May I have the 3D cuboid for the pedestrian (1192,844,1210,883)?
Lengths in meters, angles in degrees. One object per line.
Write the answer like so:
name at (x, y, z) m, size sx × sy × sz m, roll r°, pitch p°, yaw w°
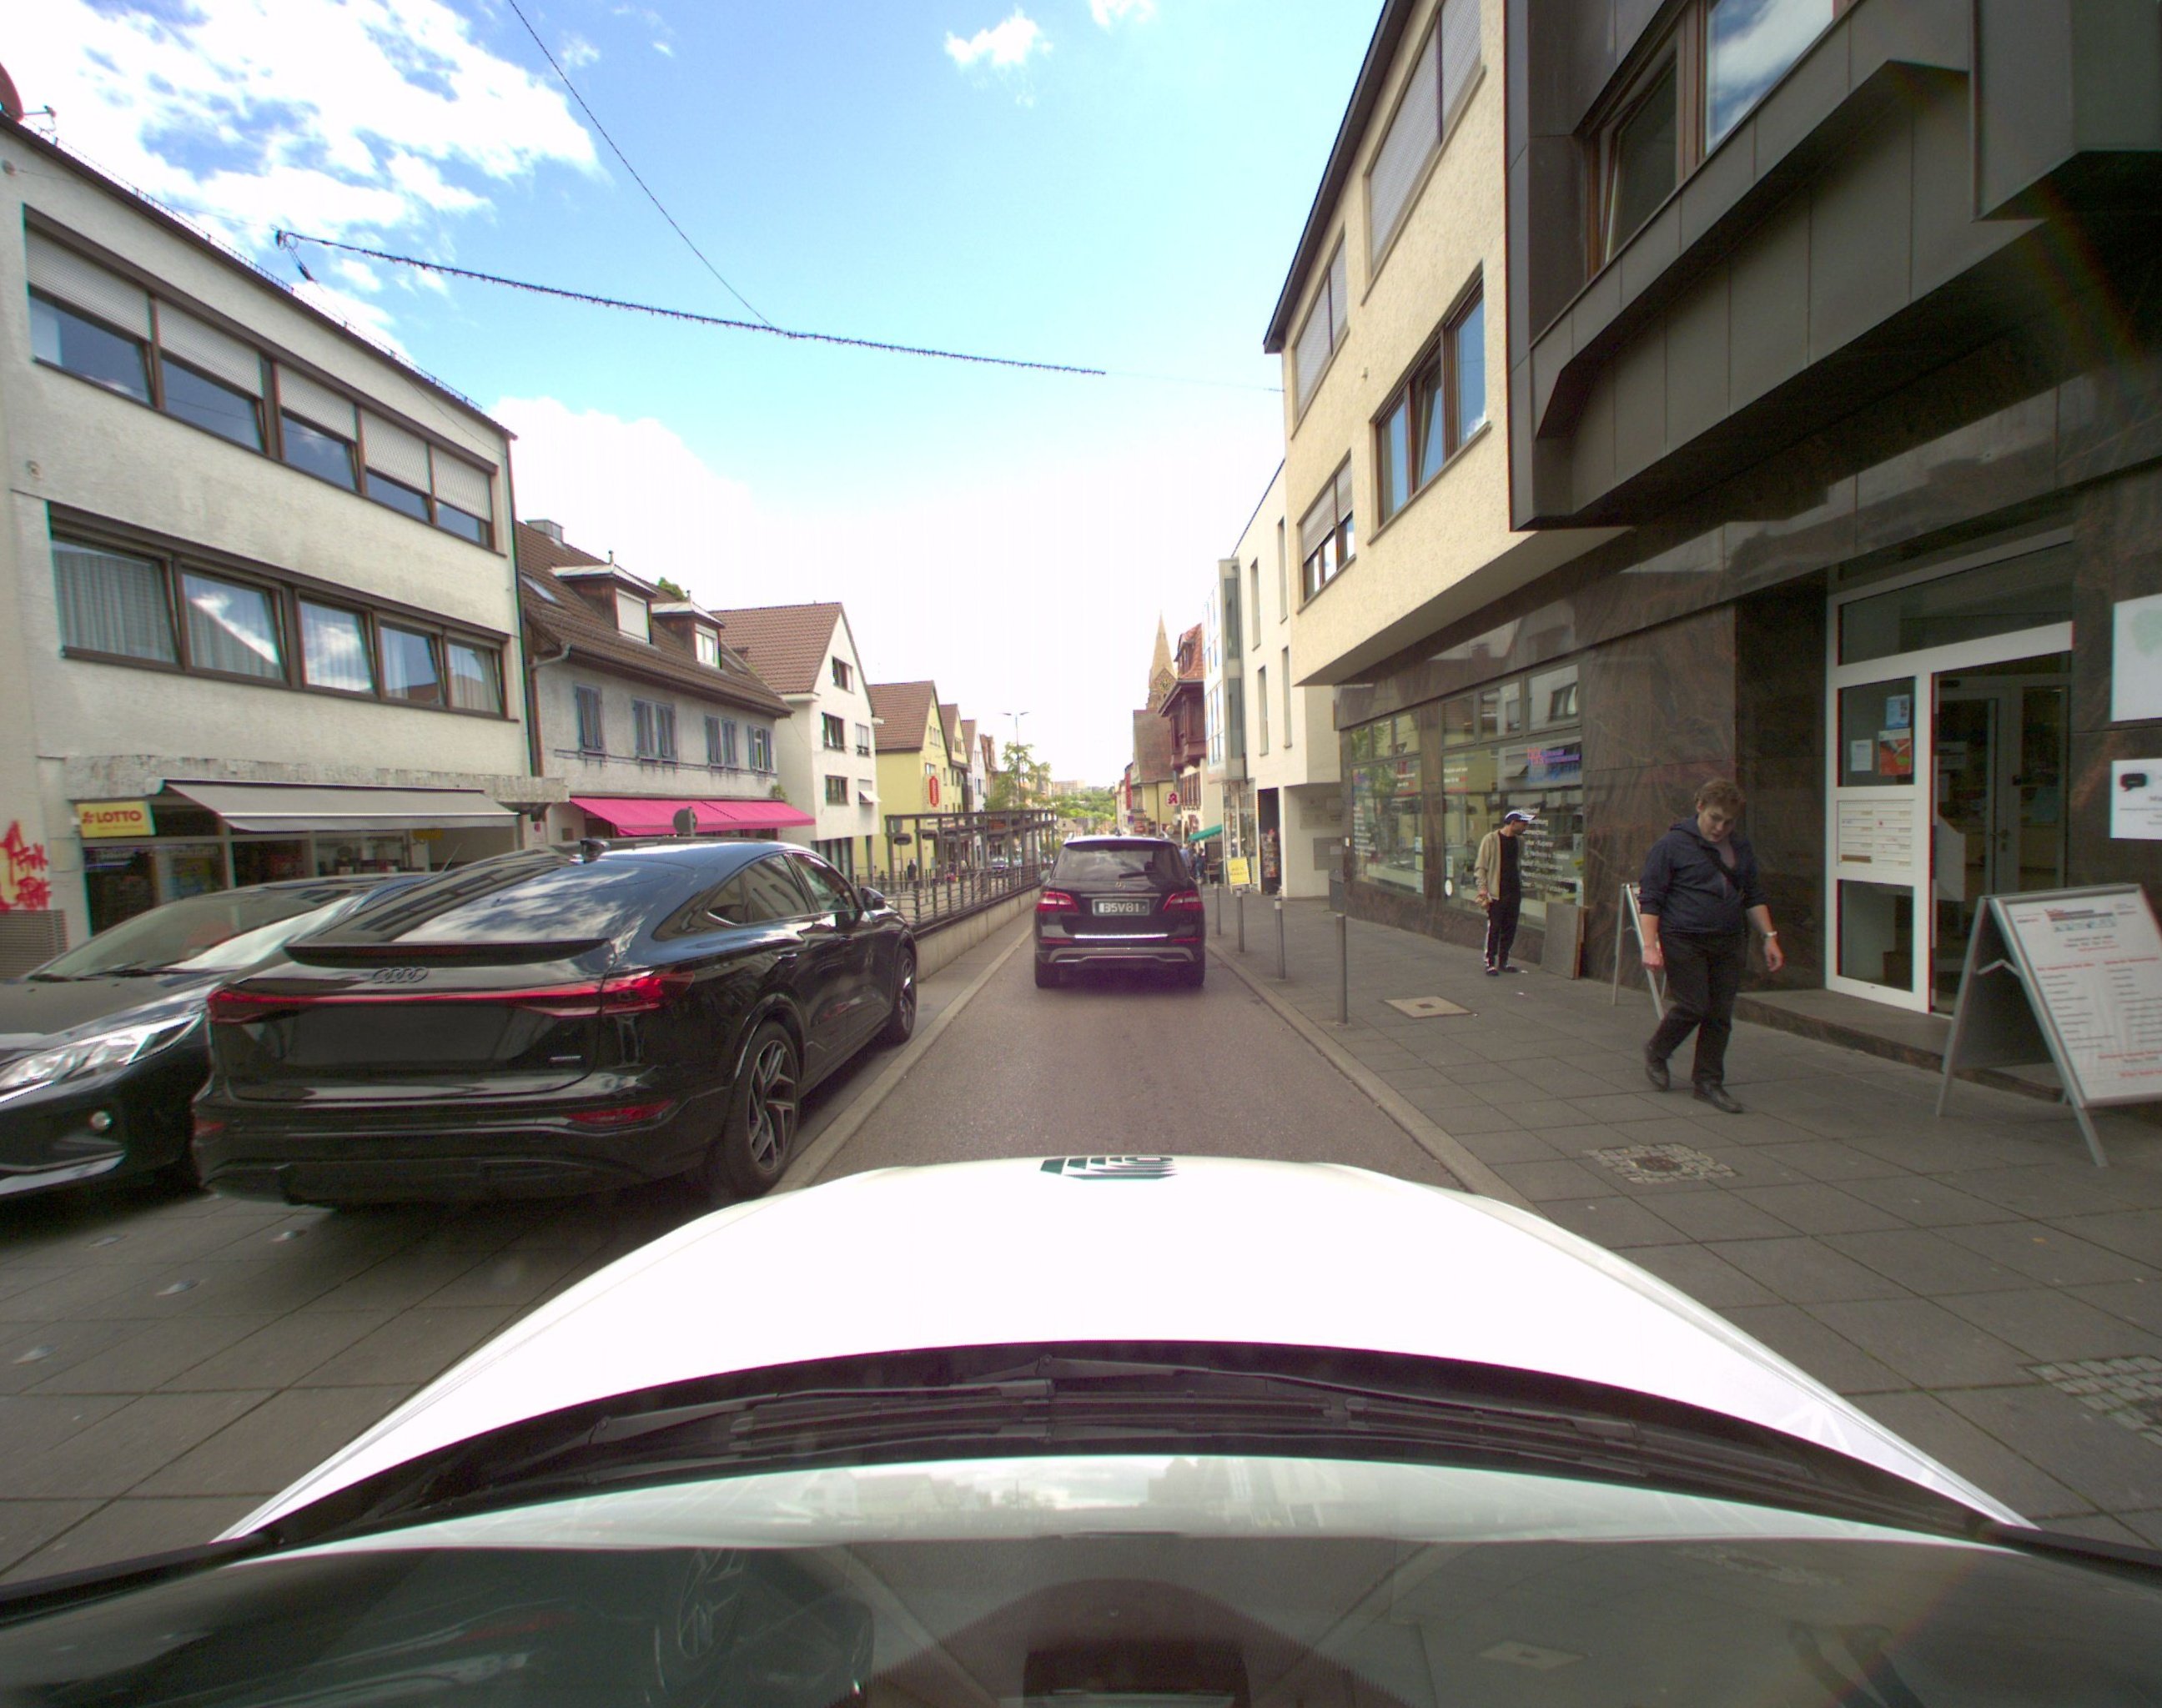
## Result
pedestrian at (5.227, 0.404, 35.458) m, size 0.572 × 1.689 × 0.565 m, roll -2°, pitch 0°, yaw -5°

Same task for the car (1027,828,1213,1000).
car at (0.388, 0.613, 10.348) m, size 1.895 × 1.747 × 3.999 m, roll 0°, pitch 0°, yaw 0°

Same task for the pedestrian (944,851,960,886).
pedestrian at (-6.173, 0.682, 39.060) m, size 0.623 × 1.689 × 0.679 m, roll 0°, pitch 0°, yaw 1°

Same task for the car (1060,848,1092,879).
car at (-0.257, 0.545, 48.341) m, size 1.764 × 1.713 × 4.001 m, roll 0°, pitch 0°, yaw 1°

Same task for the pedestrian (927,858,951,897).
pedestrian at (-6.386, 1.045, 36.625) m, size 0.718 × 1.689 × 0.773 m, roll -1°, pitch 0°, yaw 41°

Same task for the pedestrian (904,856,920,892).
pedestrian at (-8.025, 0.920, 38.692) m, size 0.614 × 1.689 × 0.558 m, roll 0°, pitch 0°, yaw -25°

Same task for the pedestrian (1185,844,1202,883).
pedestrian at (5.038, 0.412, 36.473) m, size 0.572 × 1.689 × 0.565 m, roll -2°, pitch 0°, yaw -5°

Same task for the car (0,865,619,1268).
car at (-4.884, 0.878, 5.065) m, size 1.733 × 1.475 × 3.883 m, roll -3°, pitch 0°, yaw 0°

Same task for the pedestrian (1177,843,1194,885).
pedestrian at (4.376, 0.403, 34.241) m, size 0.541 × 1.726 × 0.527 m, roll -2°, pitch 0°, yaw -5°

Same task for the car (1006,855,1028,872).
car at (-6.115, 0.896, 78.088) m, size 1.654 × 1.490 × 3.749 m, roll 0°, pitch 0°, yaw 2°

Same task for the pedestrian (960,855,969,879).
pedestrian at (-8.119, 0.917, 56.770) m, size 0.511 × 1.689 × 0.541 m, roll 0°, pitch 0°, yaw 0°

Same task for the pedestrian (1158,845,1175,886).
pedestrian at (3.615, 0.481, 34.492) m, size 0.620 × 1.689 × 0.565 m, roll 0°, pitch 0°, yaw -5°

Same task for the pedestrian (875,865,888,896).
pedestrian at (-9.200, 1.214, 37.603) m, size 0.454 × 1.421 × 0.534 m, roll 0°, pitch 0°, yaw 4°

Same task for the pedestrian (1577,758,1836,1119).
pedestrian at (3.358, 0.418, 4.454) m, size 0.708 × 1.753 × 0.787 m, roll -4°, pitch 0°, yaw 1°

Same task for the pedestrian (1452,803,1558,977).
pedestrian at (4.401, 0.359, 8.489) m, size 0.662 × 1.689 × 0.542 m, roll -6°, pitch 0°, yaw -5°

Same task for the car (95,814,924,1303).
car at (-2.361, 0.692, 4.936) m, size 1.950 × 1.639 × 4.314 m, roll -1°, pitch 0°, yaw 0°

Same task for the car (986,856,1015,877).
car at (-5.988, 0.895, 61.119) m, size 1.683 × 1.490 × 3.980 m, roll 0°, pitch 0°, yaw 2°
